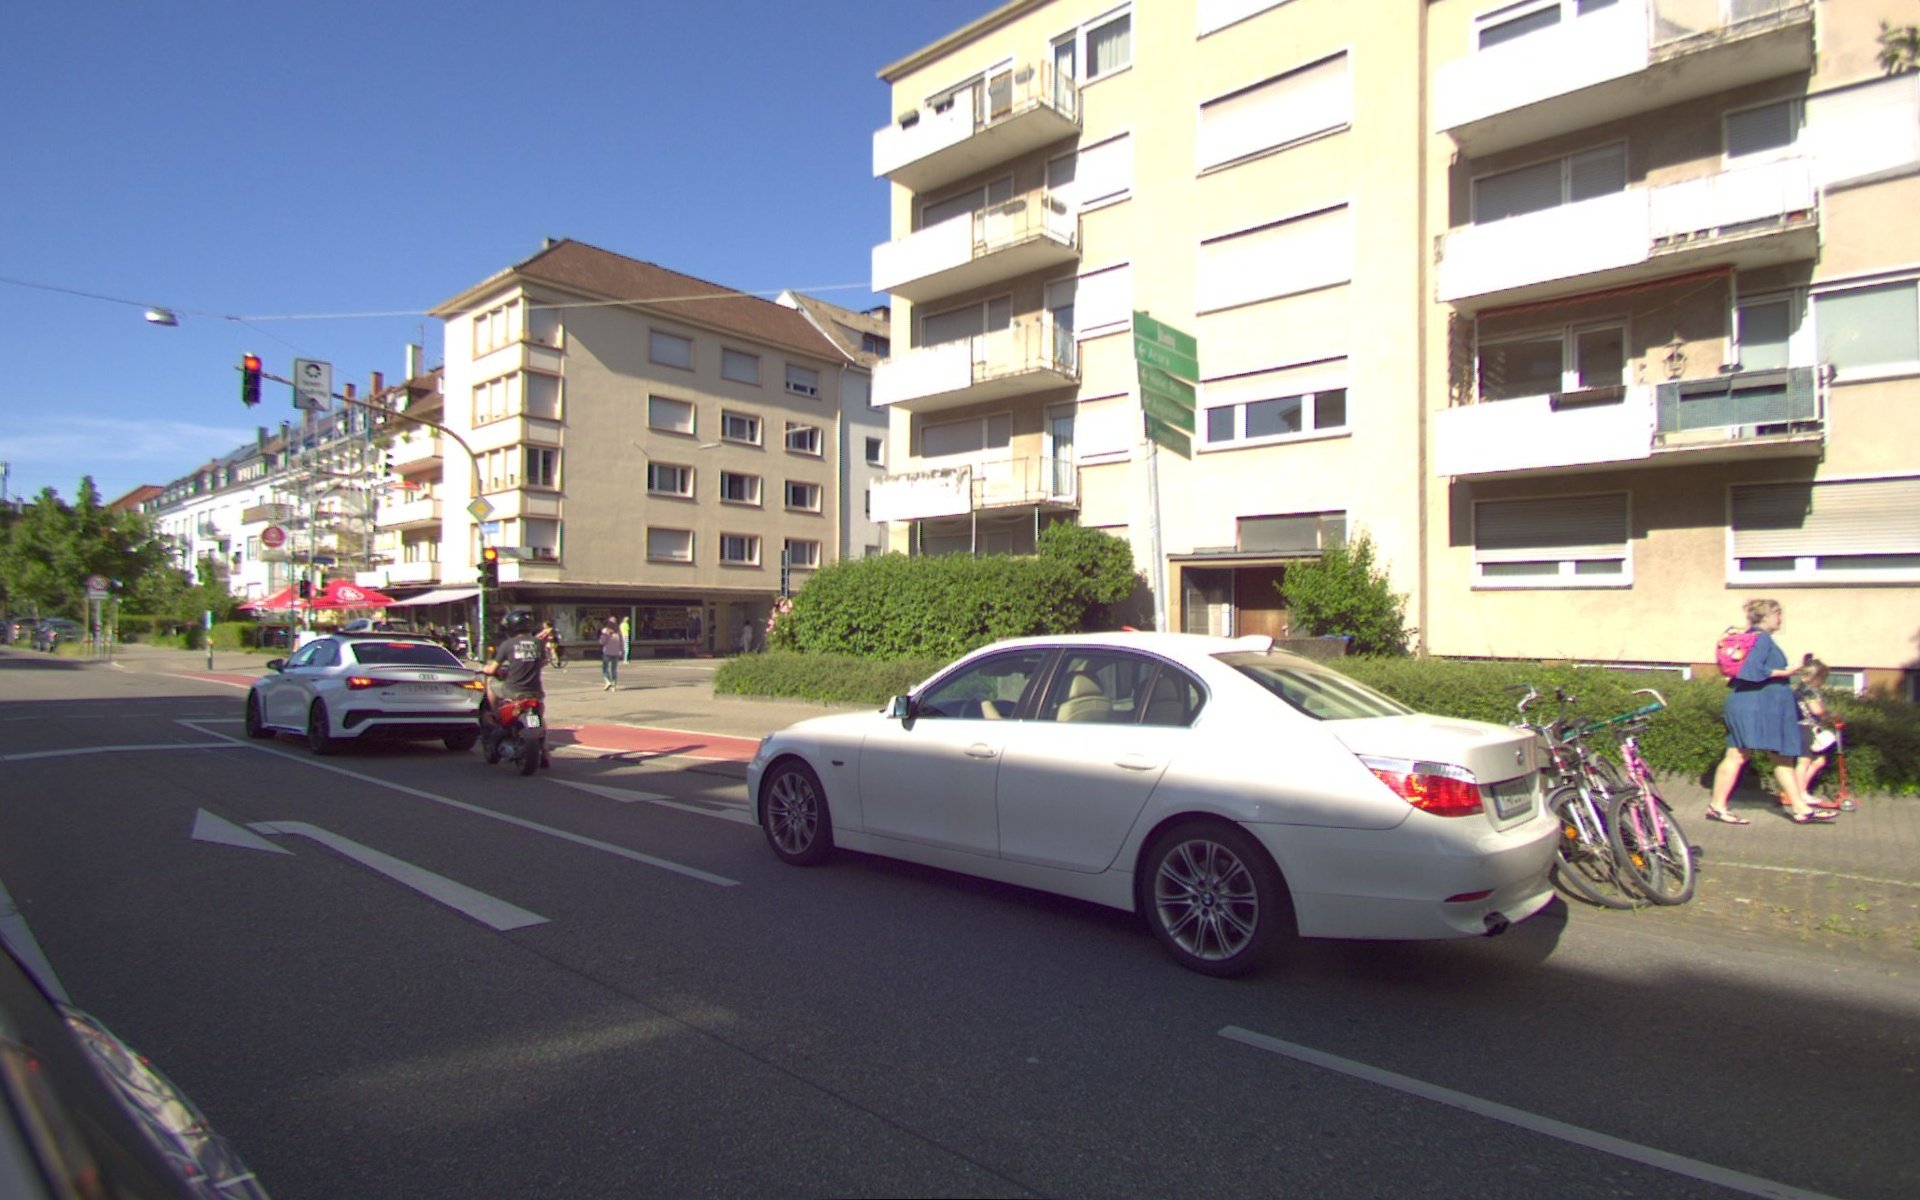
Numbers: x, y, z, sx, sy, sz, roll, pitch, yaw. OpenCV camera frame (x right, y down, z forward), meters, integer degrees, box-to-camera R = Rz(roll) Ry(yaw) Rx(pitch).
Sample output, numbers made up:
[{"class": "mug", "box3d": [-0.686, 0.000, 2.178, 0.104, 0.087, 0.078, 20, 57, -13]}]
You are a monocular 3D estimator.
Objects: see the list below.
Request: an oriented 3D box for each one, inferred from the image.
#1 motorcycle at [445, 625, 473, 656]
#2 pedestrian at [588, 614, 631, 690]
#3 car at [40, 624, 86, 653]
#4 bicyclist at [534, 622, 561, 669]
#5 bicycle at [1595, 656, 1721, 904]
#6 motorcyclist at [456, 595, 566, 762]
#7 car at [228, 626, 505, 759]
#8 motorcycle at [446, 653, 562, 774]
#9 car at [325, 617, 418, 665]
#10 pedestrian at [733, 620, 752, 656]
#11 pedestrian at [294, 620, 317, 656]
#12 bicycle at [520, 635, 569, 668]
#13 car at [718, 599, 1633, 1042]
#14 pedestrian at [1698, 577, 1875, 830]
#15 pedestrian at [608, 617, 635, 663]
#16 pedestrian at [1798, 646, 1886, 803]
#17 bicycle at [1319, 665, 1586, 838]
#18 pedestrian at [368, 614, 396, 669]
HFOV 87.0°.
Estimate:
[{"class": "motorcycle", "box3d": [-22.652, 1.833, 45.728, 1.763, 1.378, 0.562, -2, -2, 44]}, {"class": "pedestrian", "box3d": [-7.875, 1.147, 22.722, 0.682, 1.671, 0.650, -1, -2, 43]}, {"class": "car", "box3d": [-42.639, 1.808, 48.085, 3.093, 1.366, 1.305, -1, -2, 43]}, {"class": "bicyclist", "box3d": [-14.348, 1.564, 35.206, 0.578, 1.619, 0.677, -1, -2, 40]}, {"class": "bicycle", "box3d": [4.251, 0.971, 6.106, 0.518, 1.171, 1.949, -1, -1, 37]}, {"class": "motorcyclist", "box3d": [-4.741, 0.812, 10.681, 0.720, 1.659, 0.918, 5, -4, -43]}, {"class": "car", "box3d": [-7.723, 1.082, 12.986, 4.504, 1.417, 1.680, -1, -4, 41]}, {"class": "motorcycle", "box3d": [-4.843, 1.151, 10.684, 0.442, 1.130, 1.934, 5, -4, -44]}, {"class": "car", "box3d": [-21.544, 1.463, 36.994, 4.304, 1.635, 1.741, -1, -2, 43]}, {"class": "pedestrian", "box3d": [-9.936, 1.724, 46.178, 0.719, 1.658, 0.563, 0, -2, 1]}, {"class": "pedestrian", "box3d": [-28.245, 1.627, 43.677, 0.535, 1.521, 0.635, -1, 2, 40]}, {"class": "bicycle", "box3d": [-14.389, 1.777, 35.098, 0.449, 1.085, 1.545, -1, -2, 40]}, {"class": "car", "box3d": [0.793, 0.816, 5.692, 4.777, 1.476, 1.794, -1, -4, 42]}, {"class": "pedestrian", "box3d": [5.992, 0.701, 7.362, 0.929, 1.699, 0.662, -1, -1, 41]}, {"class": "pedestrian", "box3d": [-13.200, 1.563, 39.438, 0.683, 1.747, 0.719, 0, -1, 40]}, {"class": "pedestrian", "box3d": [6.885, 0.950, 7.913, 0.490, 1.169, 0.331, -1, -1, 41]}, {"class": "bicycle", "box3d": [3.561, 1.047, 7.426, 1.706, 1.087, 0.422, -1, -2, 41]}, {"class": "pedestrian", "box3d": [-18.754, 1.341, 32.844, 0.661, 1.731, 0.585, 2, -1, -39]}]
